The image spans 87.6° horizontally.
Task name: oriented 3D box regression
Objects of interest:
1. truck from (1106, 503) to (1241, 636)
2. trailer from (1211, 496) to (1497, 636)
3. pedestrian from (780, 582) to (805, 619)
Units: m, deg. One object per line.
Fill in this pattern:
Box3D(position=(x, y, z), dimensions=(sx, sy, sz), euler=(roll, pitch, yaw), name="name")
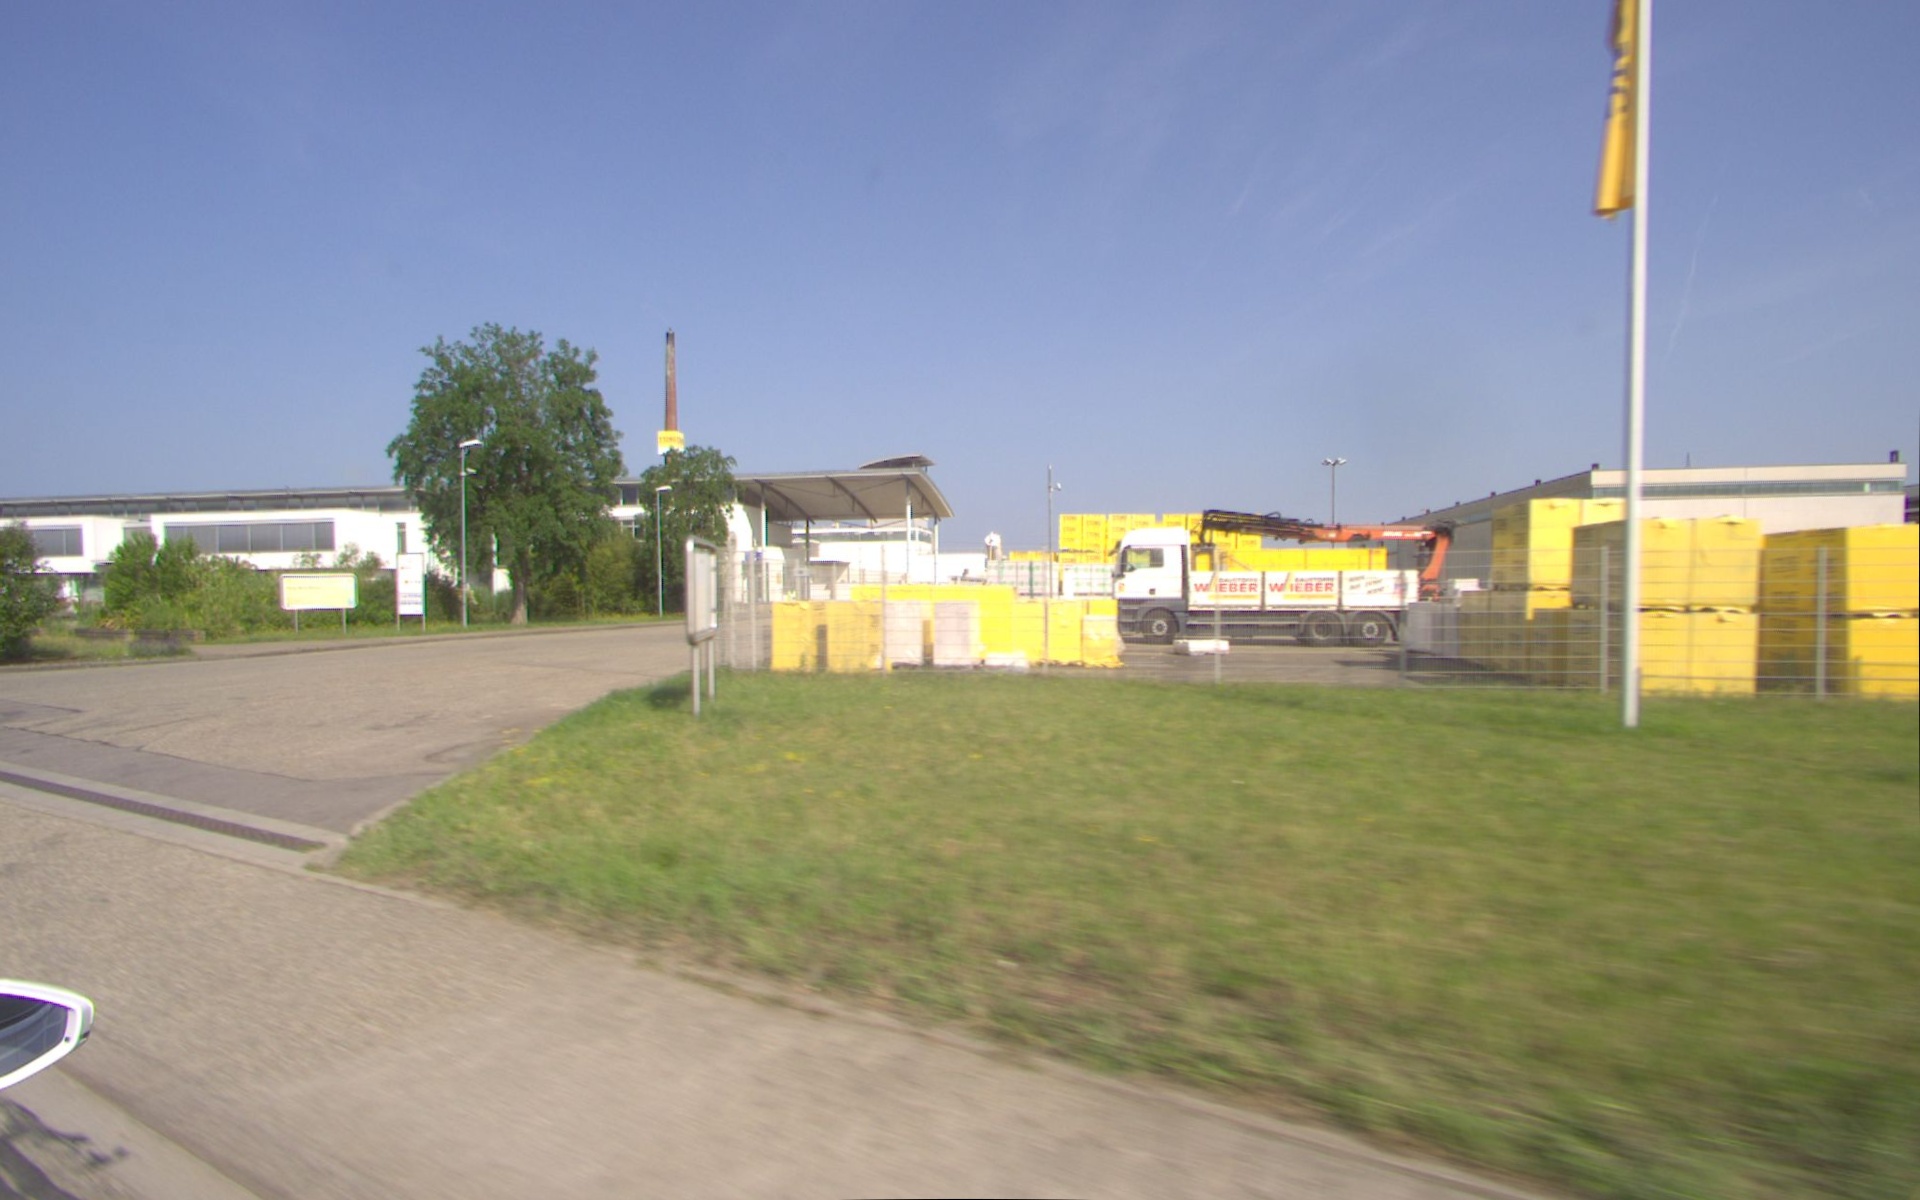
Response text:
Box3D(position=(6.553, -0.856, 31.140), dimensions=(3.924, 3.925, 2.545), euler=(0, -1, 10), name="truck")
Box3D(position=(11.627, -0.906, 30.233), dimensions=(7.652, 3.925, 2.485), euler=(-1, -1, 10), name="trailer")
Box3D(position=(-9.466, 0.033, 56.455), dimensions=(0.971, 2.039, 1.152), euler=(1, -1, -39), name="pedestrian")
